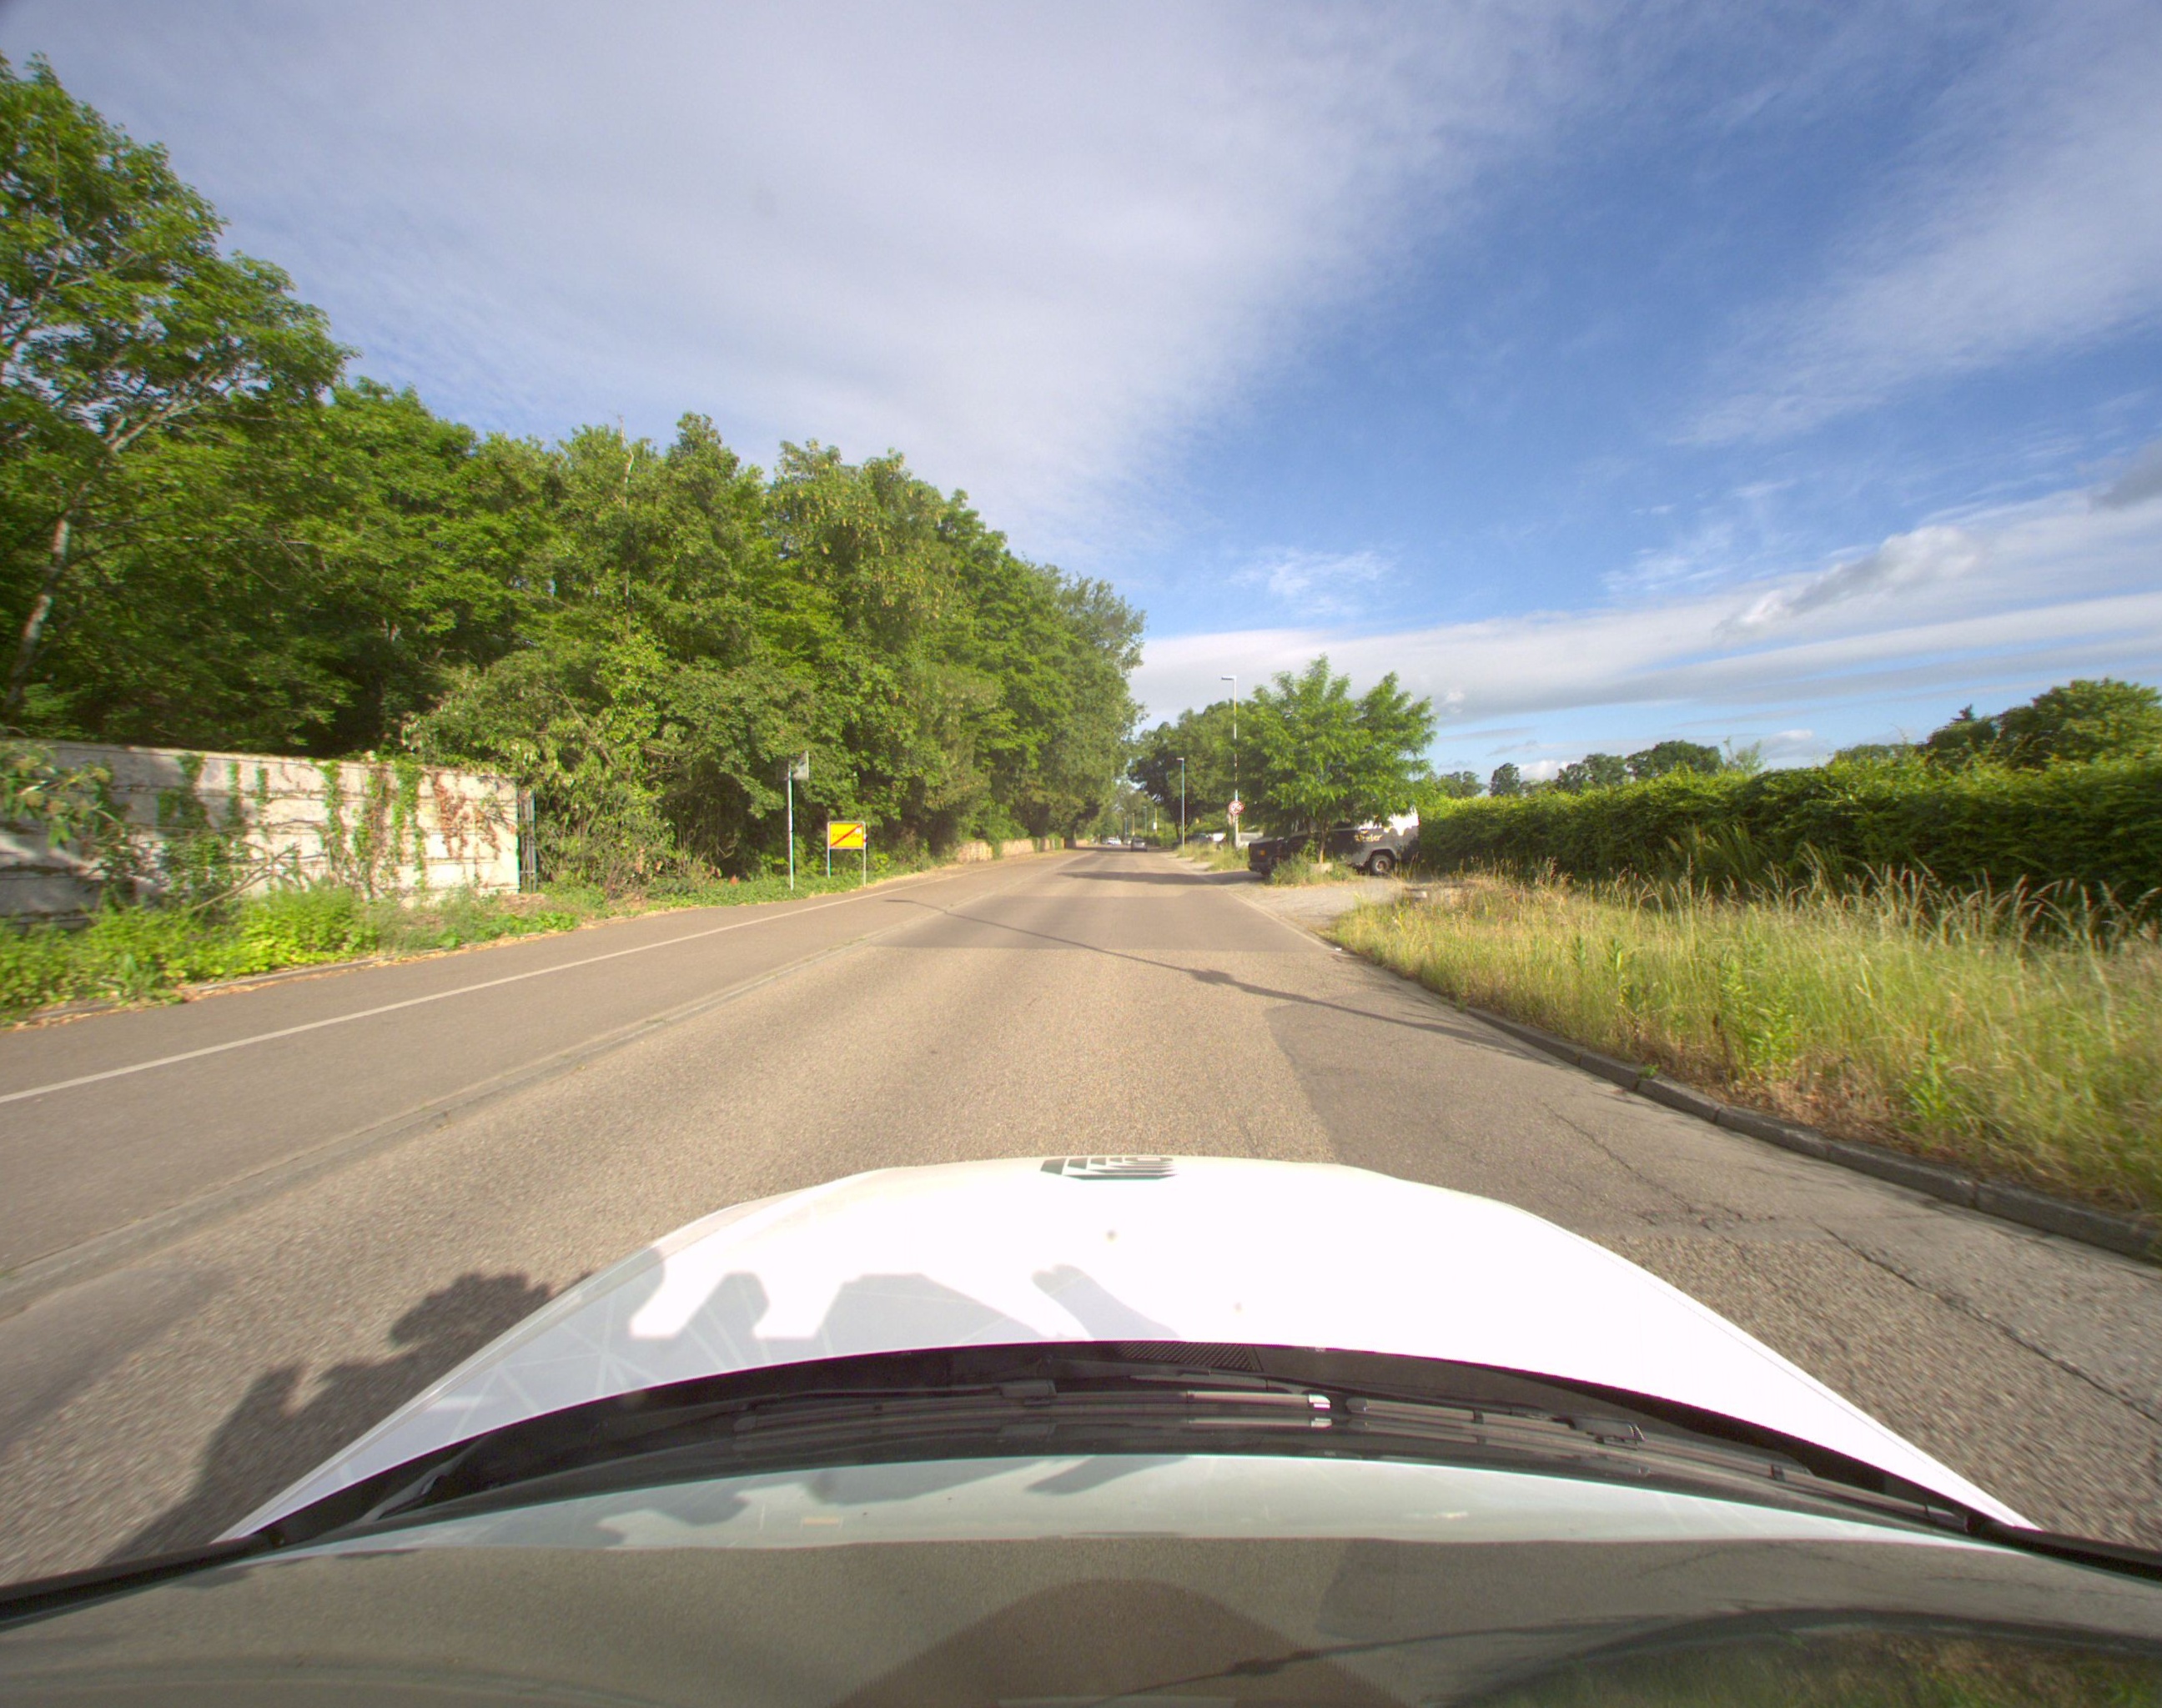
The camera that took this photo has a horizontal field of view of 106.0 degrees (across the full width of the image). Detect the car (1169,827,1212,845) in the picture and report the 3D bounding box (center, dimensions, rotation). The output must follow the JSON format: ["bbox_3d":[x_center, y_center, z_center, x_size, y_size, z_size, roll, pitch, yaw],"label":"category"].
[{"bbox_3d":[11.822,-1.927,87.999,4.384,1.646,2.002,-3,1,4],"label":"car"}]

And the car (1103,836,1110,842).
[{"bbox_3d":[7.450,-4.277,234.884,1.879,1.613,4.057,0,1,2],"label":"car"}]

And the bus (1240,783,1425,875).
[{"bbox_3d":[8.040,-0.810,26.363,5.347,2.746,2.069,-1,1,0],"label":"bus"}]

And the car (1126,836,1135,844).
[{"bbox_3d":[10.142,-2.837,167.321,1.879,1.613,4.057,0,1,2],"label":"car"}]

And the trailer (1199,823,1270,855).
[{"bbox_3d":[9.322,-0.909,49.706,4.130,1.835,1.920,-1,1,7],"label":"trailer"}]

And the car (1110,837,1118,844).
[{"bbox_3d":[8.397,-3.413,206.621,1.879,1.613,4.057,0,1,2],"label":"car"}]

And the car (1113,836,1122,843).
[{"bbox_3d":[7.955,-3.151,176.798,1.880,1.372,4.055,0,1,1],"label":"car"}]

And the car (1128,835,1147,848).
[{"bbox_3d":[5.941,-1.314,85.802,1.879,1.372,4.057,0,1,2],"label":"car"}]

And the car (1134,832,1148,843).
[{"bbox_3d":[8.164,-2.205,111.293,1.879,1.464,4.057,0,1,2],"label":"car"}]

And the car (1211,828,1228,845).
[{"bbox_3d":[14.632,-1.846,85.891,1.341,1.632,4.127,-3,1,14],"label":"car"}]
